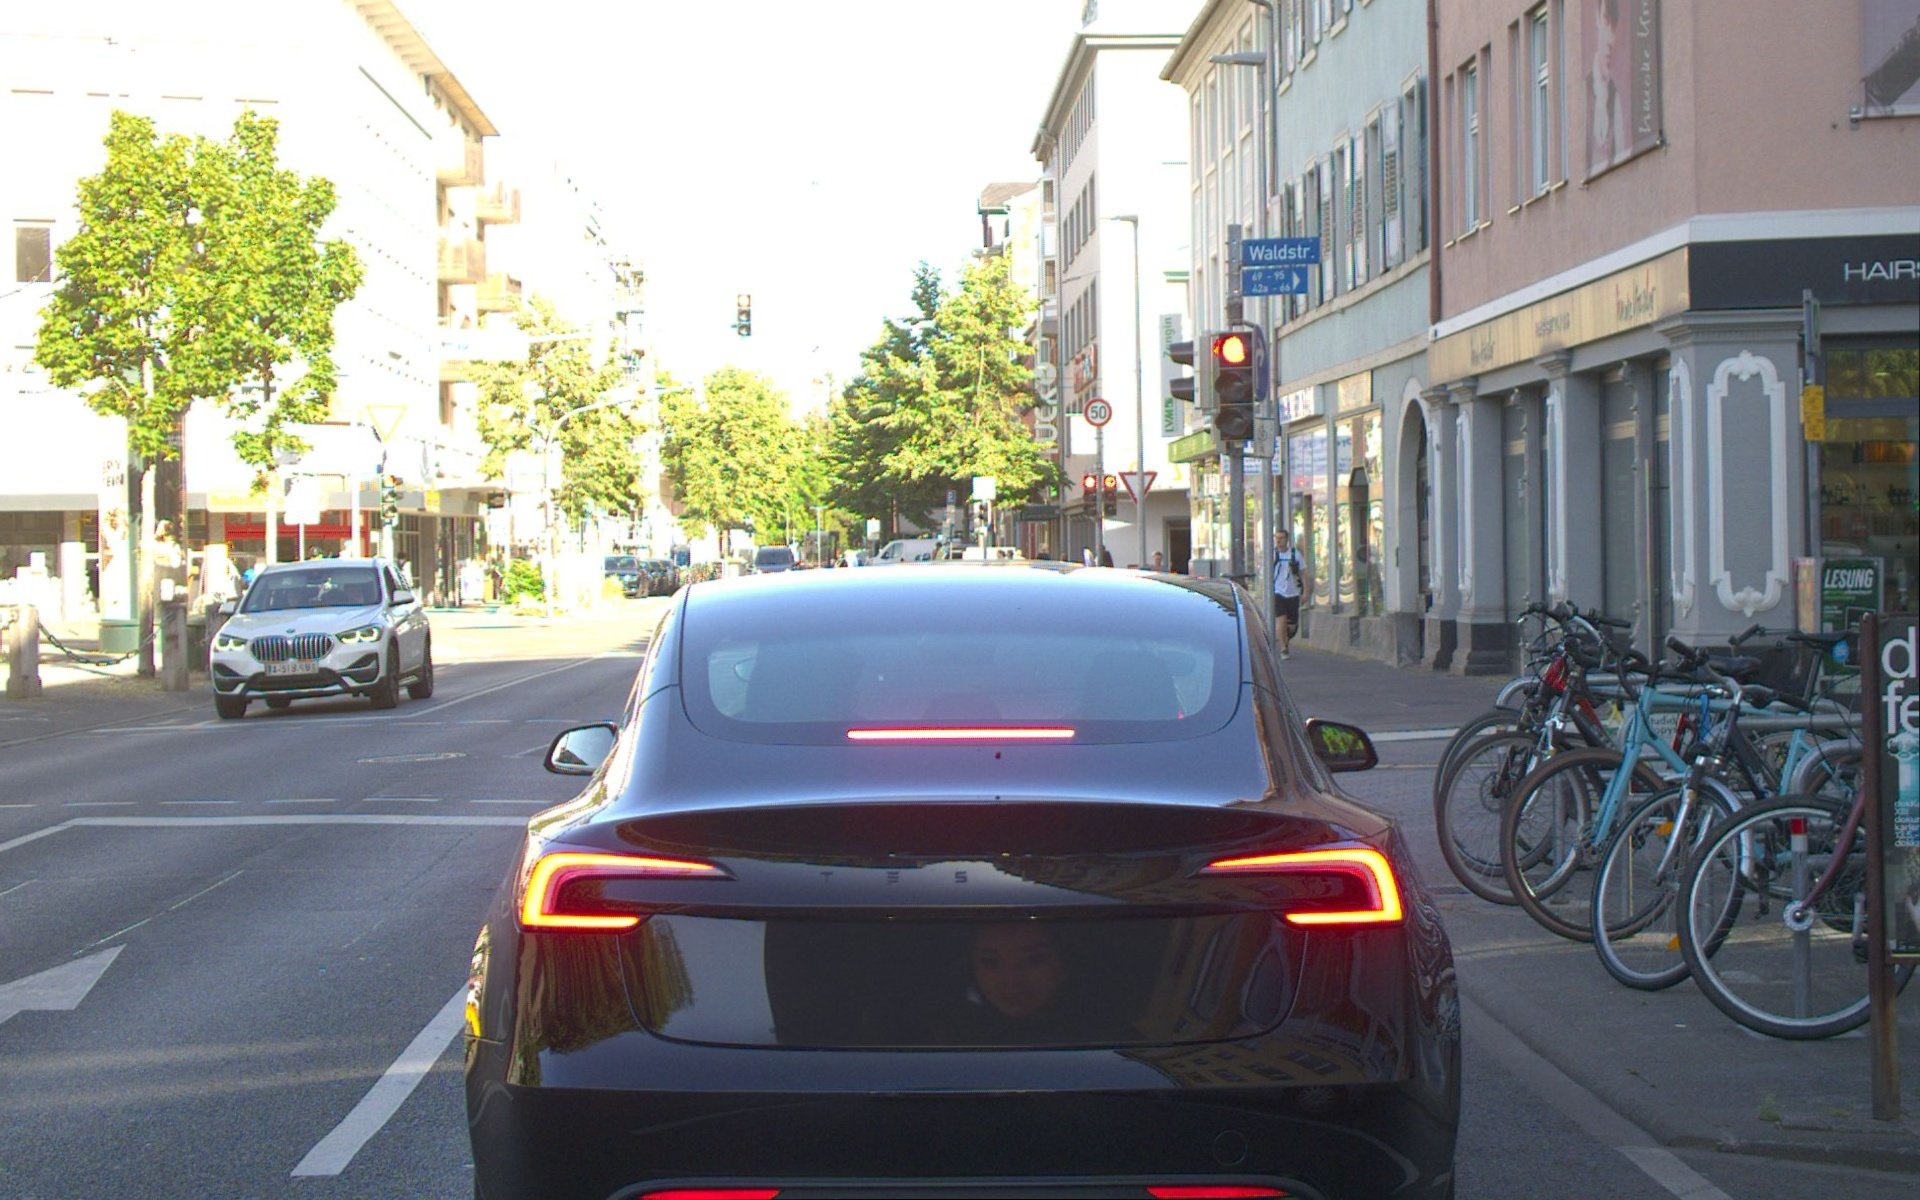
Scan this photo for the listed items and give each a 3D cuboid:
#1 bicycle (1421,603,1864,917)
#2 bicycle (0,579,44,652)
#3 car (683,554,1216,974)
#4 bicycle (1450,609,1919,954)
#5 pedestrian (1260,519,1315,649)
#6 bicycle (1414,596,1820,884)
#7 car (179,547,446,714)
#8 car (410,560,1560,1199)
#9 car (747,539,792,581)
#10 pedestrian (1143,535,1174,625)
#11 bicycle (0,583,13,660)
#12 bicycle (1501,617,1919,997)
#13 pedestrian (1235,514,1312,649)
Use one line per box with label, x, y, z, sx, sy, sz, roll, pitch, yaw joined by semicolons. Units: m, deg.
bicycle;2.688;0.624;13.600;1.627;1.156;0.433;-2;1;-1
bicycle;-15.059;0.234;52.184;2.082;1.100;0.806;0;1;-1
car;-0.032;0.544;13.840;1.850;1.450;3.786;0;1;0
bicycle;2.637;0.645;12.418;1.627;1.156;0.433;-2;1;-1
pedestrian;4.505;-0.221;47.350;0.704;1.777;0.533;0;1;-1
bicycle;2.812;0.595;14.776;1.628;1.156;0.433;-2;1;1
car;-6.718;0.272;36.067;1.993;1.535;4.000;-4;1;-1
car;0.045;0.648;7.428;1.850;1.450;3.786;0;1;0
car;-7.946;-1.691;143.503;1.829;1.718;4.000;0;1;-2
pedestrian;3.718;-0.372;64.409;0.570;1.685;0.387;0;1;-1
bicycle;-14.920;0.305;49.991;2.082;1.100;0.806;0;1;-1
bicycle;2.634;0.660;11.214;1.627;1.156;0.433;-2;1;-1
pedestrian;4.306;-0.258;47.288;0.999;1.844;0.615;0;1;-1
